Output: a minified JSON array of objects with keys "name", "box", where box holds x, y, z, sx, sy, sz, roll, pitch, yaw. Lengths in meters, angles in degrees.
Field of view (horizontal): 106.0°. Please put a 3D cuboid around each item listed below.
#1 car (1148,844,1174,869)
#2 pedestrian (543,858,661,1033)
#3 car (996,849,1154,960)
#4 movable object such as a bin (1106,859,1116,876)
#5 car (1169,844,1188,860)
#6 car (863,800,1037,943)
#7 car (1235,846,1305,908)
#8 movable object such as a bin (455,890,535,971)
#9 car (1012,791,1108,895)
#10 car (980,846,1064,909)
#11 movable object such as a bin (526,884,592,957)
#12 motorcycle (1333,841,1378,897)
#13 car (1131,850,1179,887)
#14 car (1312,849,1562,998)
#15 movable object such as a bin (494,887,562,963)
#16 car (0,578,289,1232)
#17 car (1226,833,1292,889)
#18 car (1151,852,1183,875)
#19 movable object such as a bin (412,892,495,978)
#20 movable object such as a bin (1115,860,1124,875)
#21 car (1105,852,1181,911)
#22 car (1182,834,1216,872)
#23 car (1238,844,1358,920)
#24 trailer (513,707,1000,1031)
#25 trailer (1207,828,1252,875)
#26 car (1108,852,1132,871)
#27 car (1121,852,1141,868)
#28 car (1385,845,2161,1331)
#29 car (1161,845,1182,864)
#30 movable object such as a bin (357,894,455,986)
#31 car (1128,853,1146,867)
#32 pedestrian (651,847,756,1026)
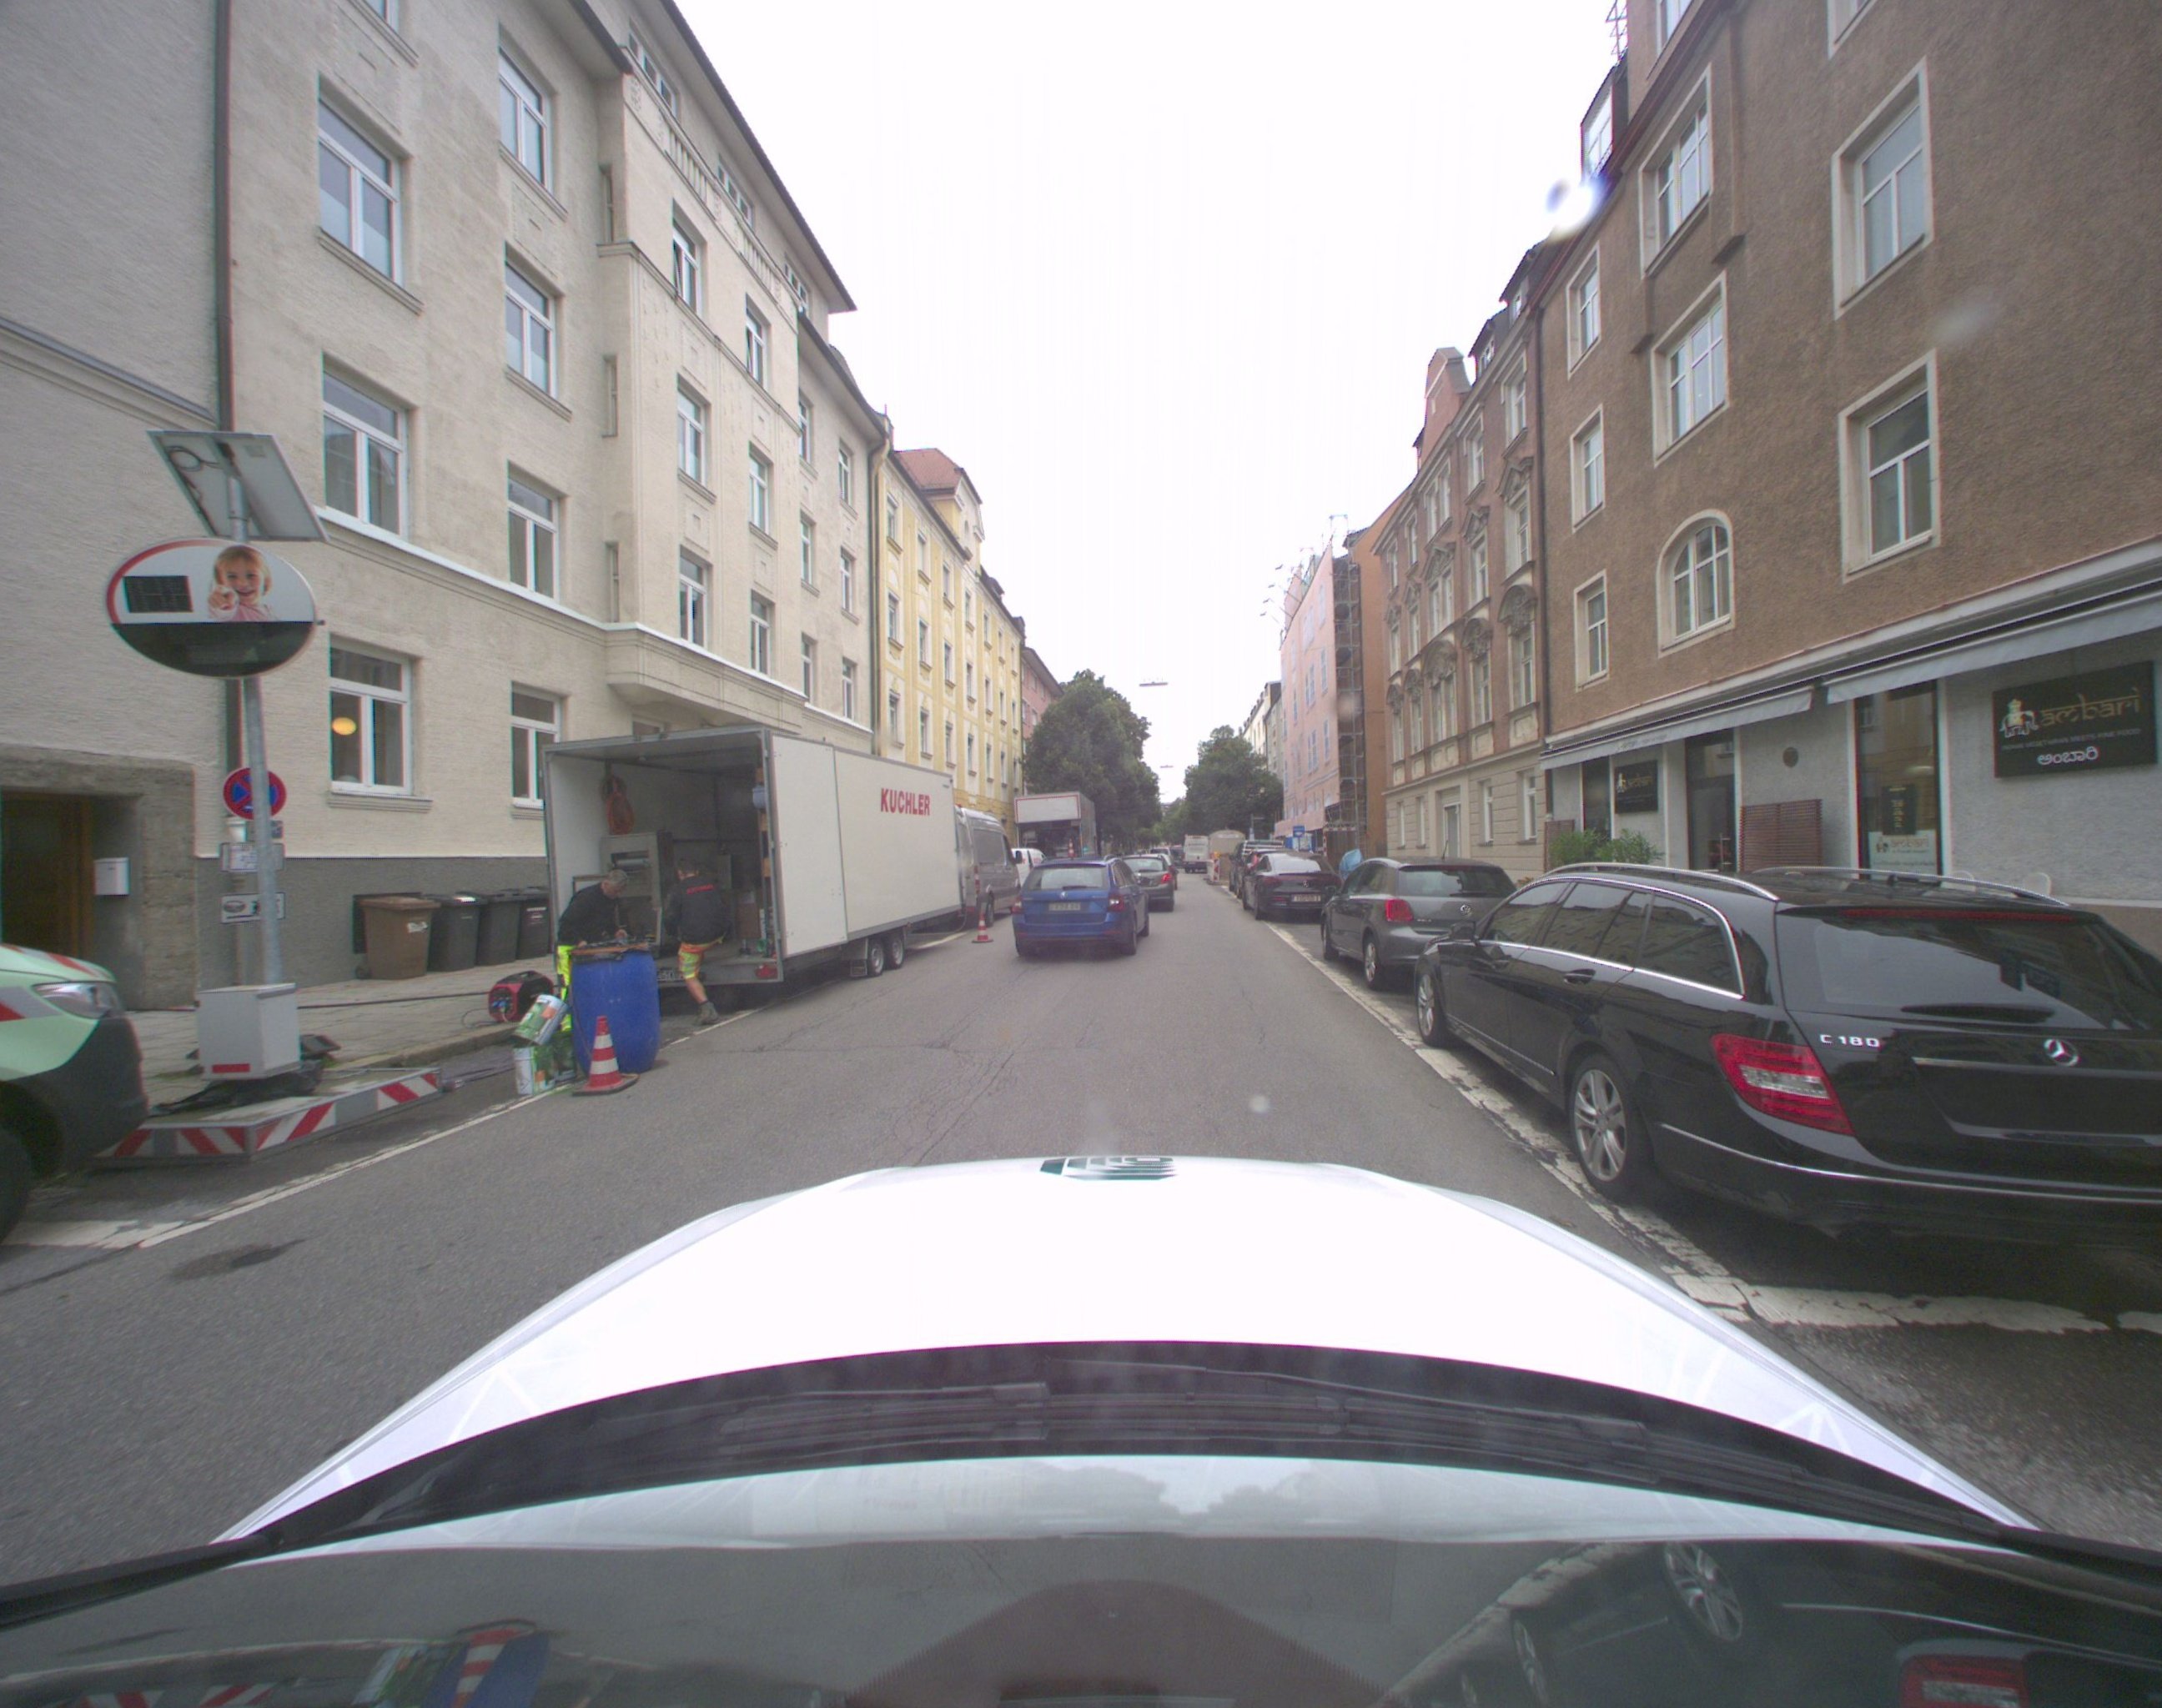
[{"name":"car","box":[6.249,0.198,63.197,1.857,1.870,4.356,0,0,7]},{"name":"pedestrian","box":[-4.583,0.842,7.834,0.761,1.580,0.635,-2,-1,-11]},{"name":"car","box":[0.094,0.686,13.053,1.778,1.460,4.325,-2,0,9]},{"name":"movable object such as a bin","box":[2.168,0.983,58.833,0.708,1.148,0.637,-3,0,3]},{"name":"car","box":[10.381,-0.213,86.931,1.997,1.653,4.355,0,1,6]},{"name":"car","box":[-2.743,0.344,19.226,2.045,2.587,6.889,-6,-1,6]},{"name":"car","box":[5.705,0.649,25.003,1.684,1.676,4.417,2,0,8]},{"name":"movable object such as a bin","box":[-8.703,1.130,12.110,0.672,1.129,0.640,-2,-1,9]},{"name":"car","box":[-0.660,-0.396,34.894,2.798,3.817,8.739,-2,0,6]},{"name":"car","box":[-1.822,0.709,26.605,1.753,1.779,4.336,-3,0,8]},{"name":"movable object such as a bin","box":[-8.488,1.072,13.257,0.668,1.129,0.556,-2,-1,9]},{"name":"motorcycle","box":[7.804,0.404,23.225,0.866,1.505,2.002,-1,0,9]},{"name":"car","box":[3.119,0.562,34.141,1.858,1.454,4.355,0,1,6]},{"name":"car","box":[4.021,0.688,9.948,1.564,1.394,4.189,-2,-1,6]},{"name":"movable object such as a bin","box":[-8.614,1.098,12.695,0.644,1.129,0.556,-2,-1,9]},{"name":"car","box":[-5.629,0.227,0.962,2.129,2.572,6.809,-1,0,7]},{"name":"car","box":[6.665,0.349,31.015,2.071,1.921,5.151,0,-2,8]},{"name":"car","box":[5.262,0.544,49.697,1.857,1.348,4.356,0,1,7]},{"name":"movable object such as a bin","box":[-8.838,1.127,11.489,0.644,1.129,0.640,-2,-1,9]},{"name":"movable object such as a bin","box":[2.788,0.988,58.830,0.544,1.020,0.637,-3,0,3]},{"name":"car","box":[1.743,0.691,21.914,1.731,1.422,3.672,-2,0,8]},{"name":"car","box":[8.778,-0.061,60.272,2.098,2.664,5.519,0,0,13]},{"name":"car","box":[5.036,0.583,19.697,1.921,1.553,5.646,-1,0,6]},{"name":"trailer","box":[-3.623,0.125,11.764,2.787,2.969,7.619,-5,0,9]},{"name":"trailer","box":[9.558,-0.118,53.043,2.489,2.840,6.914,0,0,7]},{"name":"car","box":[3.264,0.617,67.518,1.804,1.478,4.006,-1,0,5]},{"name":"car","box":[4.845,0.560,78.163,1.804,1.478,4.006,-1,0,5]},{"name":"car","box":[3.335,0.687,4.766,1.837,1.405,4.797,-1,0,7]},{"name":"car","box":[8.307,0.042,74.594,1.857,1.653,4.356,0,1,7]},{"name":"movable object such as a bin","box":[-8.940,1.122,10.807,0.644,1.129,0.732,-2,-1,9]},{"name":"car","box":[6.239,0.637,90.147,1.802,1.478,4.008,-1,0,7]},{"name":"pedestrian","box":[-3.644,0.764,7.923,0.762,1.631,0.634,-2,-1,-13]}]
